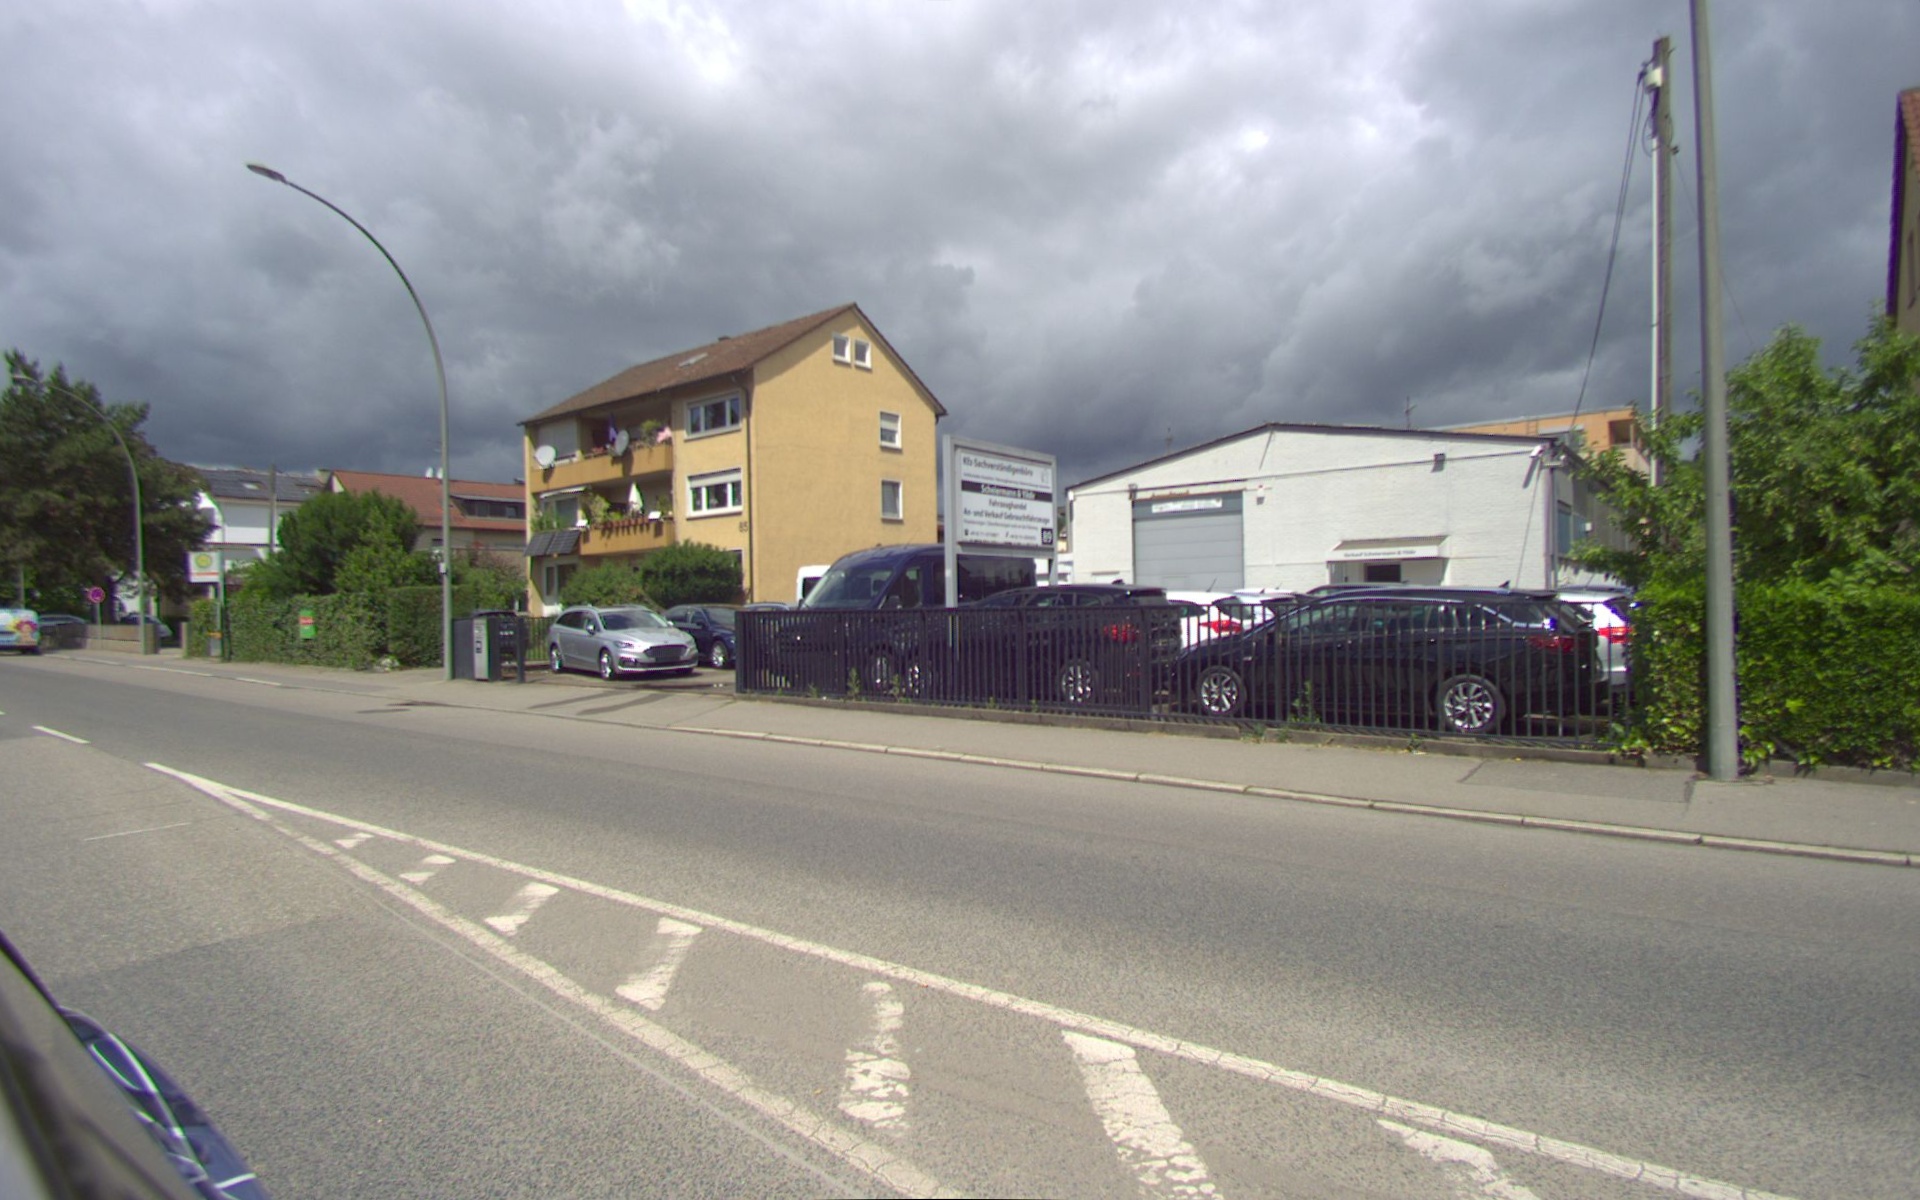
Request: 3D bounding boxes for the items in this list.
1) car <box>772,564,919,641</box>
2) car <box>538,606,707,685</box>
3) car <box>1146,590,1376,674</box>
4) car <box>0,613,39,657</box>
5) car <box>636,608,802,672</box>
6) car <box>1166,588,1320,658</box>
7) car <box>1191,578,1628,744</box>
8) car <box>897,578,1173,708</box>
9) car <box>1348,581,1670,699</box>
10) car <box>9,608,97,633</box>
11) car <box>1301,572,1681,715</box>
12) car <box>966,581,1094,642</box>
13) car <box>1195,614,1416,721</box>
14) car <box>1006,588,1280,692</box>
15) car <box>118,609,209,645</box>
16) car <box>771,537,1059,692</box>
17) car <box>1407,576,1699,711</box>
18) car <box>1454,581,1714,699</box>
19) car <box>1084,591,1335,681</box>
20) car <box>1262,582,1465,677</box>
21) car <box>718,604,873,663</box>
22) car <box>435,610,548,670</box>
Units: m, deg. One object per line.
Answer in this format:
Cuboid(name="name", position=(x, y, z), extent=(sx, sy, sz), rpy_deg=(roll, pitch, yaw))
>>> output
Cuboid(name="car", position=(-3.294, 0.074, 28.720), extent=(3.998, 2.029, 1.973), rpy_deg=(-1, 0, 41))
Cuboid(name="car", position=(-7.277, 0.890, 21.570), extent=(1.861, 1.470, 4.356), rpy_deg=(-2, 1, -41))
Cuboid(name="car", position=(5.877, 0.581, 19.982), extent=(3.998, 1.498, 1.742), rpy_deg=(-1, 0, 41))
Cuboid(name="car", position=(-39.279, 1.418, 41.465), extent=(3.995, 1.693, 1.708), rpy_deg=(-1, 0, 39))
Cuboid(name="car", position=(-5.730, 0.887, 23.840), extent=(3.998, 1.352, 1.861), rpy_deg=(-1, 0, 41))
Cuboid(name="car", position=(8.457, 0.656, 30.422), extent=(3.998, 1.941, 1.973), rpy_deg=(-1, 0, 41))
Cuboid(name="car", position=(4.807, 0.565, 11.123), extent=(4.040, 1.494, 1.840), rpy_deg=(-1, 0, 40))
Cuboid(name="car", position=(1.006, 0.549, 14.530), extent=(3.619, 1.633, 1.790), rpy_deg=(-1, 0, 41))
Cuboid(name="car", position=(8.284, 0.539, 15.443), extent=(3.998, 1.560, 1.973), rpy_deg=(-1, 0, 41))
Cuboid(name="car", position=(-68.428, 1.525, 76.419), extent=(2.216, 1.691, 4.676), rpy_deg=(-1, 0, 39))
Cuboid(name="car", position=(6.743, 0.480, 13.058), extent=(3.998, 1.552, 1.973), rpy_deg=(-1, 0, 41))
Cuboid(name="car", position=(2.372, 0.381, 34.624), extent=(3.998, 1.941, 1.973), rpy_deg=(-1, 0, 41))
Cuboid(name="car", position=(7.296, 1.329, 21.559), extent=(3.998, 2.029, 1.973), rpy_deg=(-1, 0, 41))
Cuboid(name="car", position=(2.869, 0.571, 16.314), extent=(3.998, 1.470, 1.795), rpy_deg=(-1, 0, 41))
Cuboid(name="car", position=(-46.362, 1.571, 58.941), extent=(3.954, 2.029, 1.995), rpy_deg=(-1, 0, 9))
Cuboid(name="car", position=(-0.641, 0.214, 18.355), extent=(2.104, 2.402, 5.293), rpy_deg=(-1, 0, 42))
Cuboid(name="car", position=(10.010, 0.665, 17.234), extent=(3.998, 2.029, 1.973), rpy_deg=(-1, 0, 41))
Cuboid(name="car", position=(11.966, 0.698, 19.536), extent=(3.998, 2.029, 1.973), rpy_deg=(-1, 0, 41))
Cuboid(name="car", position=(4.352, 0.576, 17.988), extent=(3.998, 1.423, 1.716), rpy_deg=(-1, 0, 41))
Cuboid(name="car", position=(9.386, 0.638, 23.697), extent=(3.998, 2.029, 1.973), rpy_deg=(-1, 0, 41))
Cuboid(name="car", position=(-4.320, 0.826, 26.289), extent=(3.998, 1.383, 1.859), rpy_deg=(-1, 0, 41))
Cuboid(name="car", position=(-14.077, 1.155, 30.377), extent=(3.520, 1.678, 1.807), rpy_deg=(-1, 0, 41))
